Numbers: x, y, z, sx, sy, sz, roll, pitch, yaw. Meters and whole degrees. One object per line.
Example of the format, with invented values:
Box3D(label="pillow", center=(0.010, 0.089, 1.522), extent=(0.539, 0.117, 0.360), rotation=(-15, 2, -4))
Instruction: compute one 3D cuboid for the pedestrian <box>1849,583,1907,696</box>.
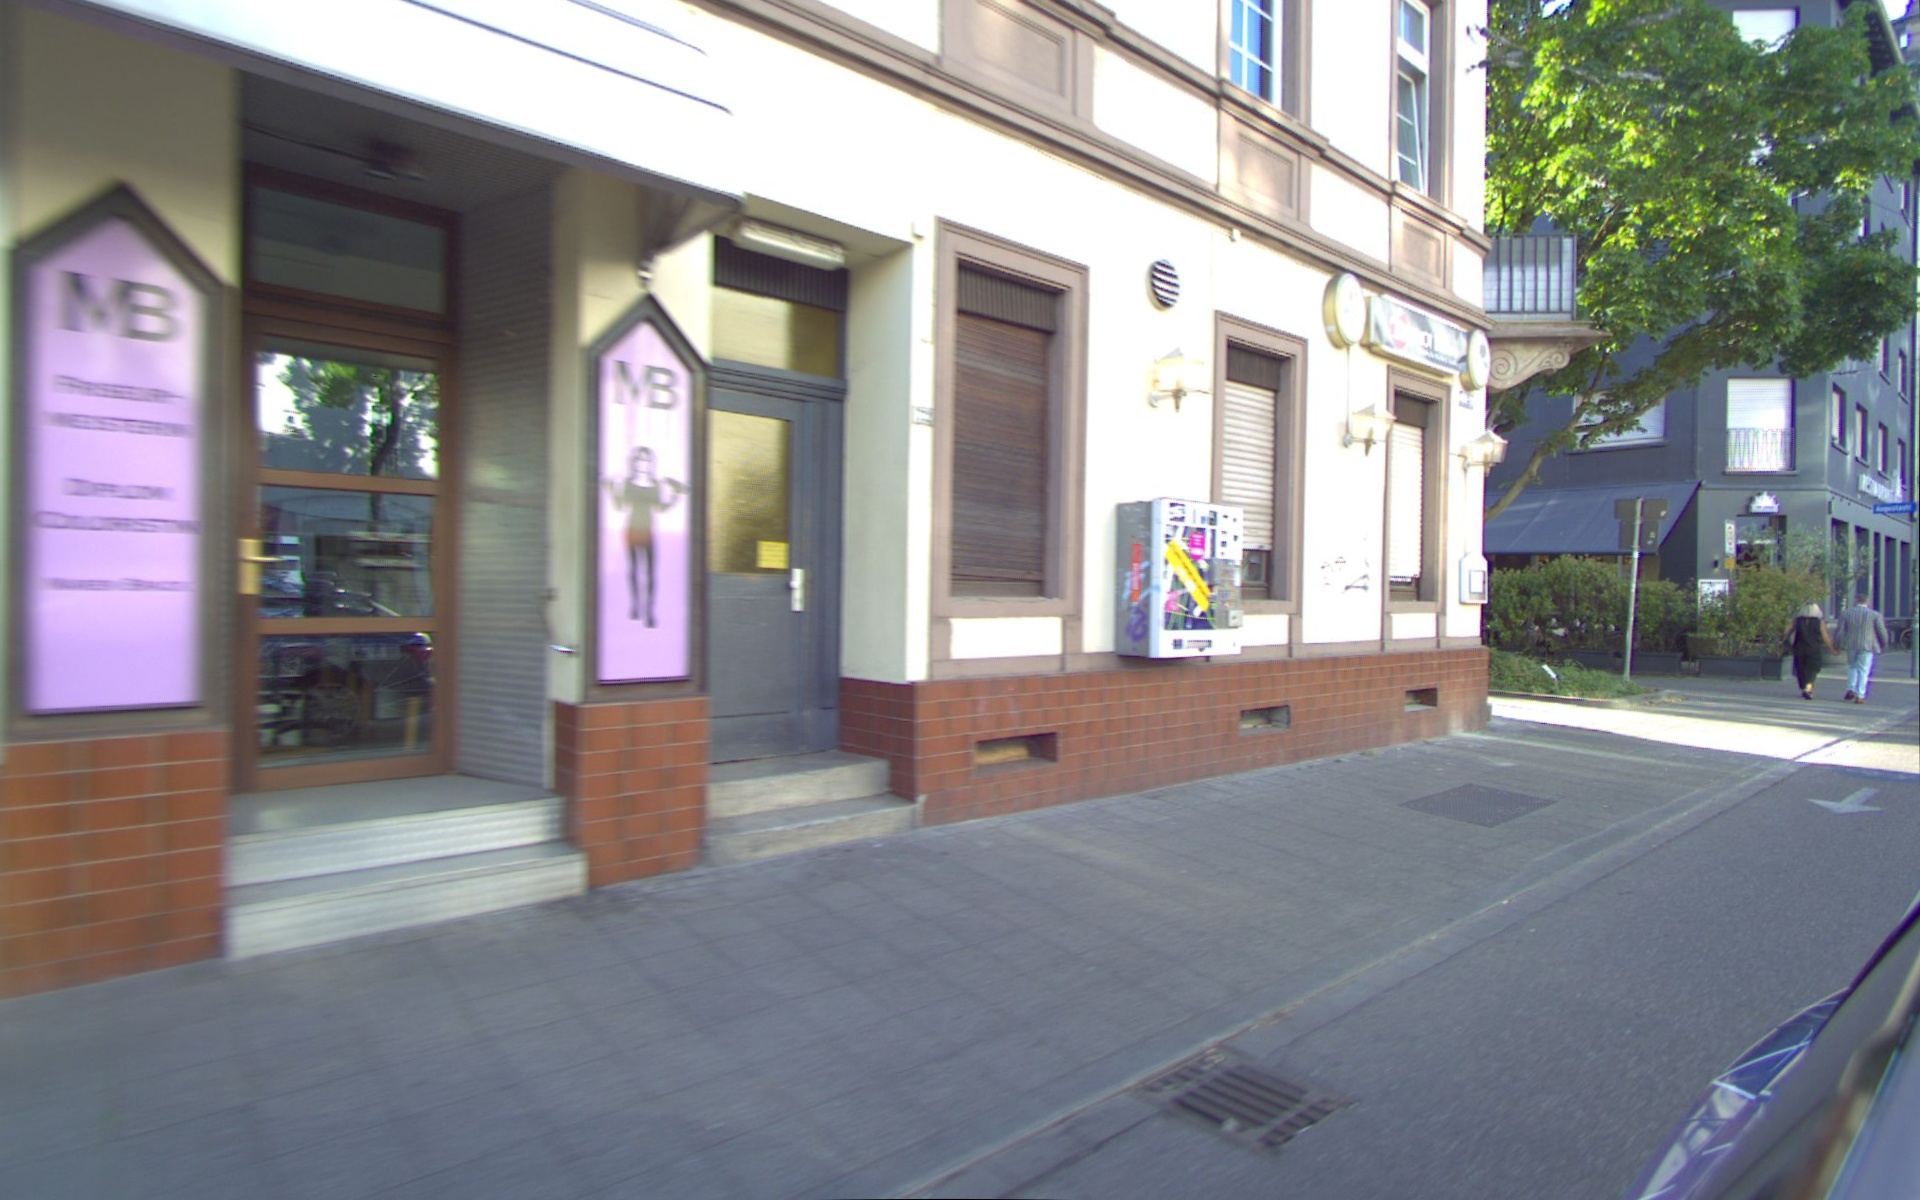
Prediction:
Box3D(label="pedestrian", center=(14.498, 0.599, 15.983), extent=(0.649, 1.738, 0.793), rotation=(1, 0, 43))

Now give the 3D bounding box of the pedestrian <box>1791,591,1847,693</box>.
Box3D(label="pedestrian", center=(13.902, 0.654, 16.379), extent=(0.649, 1.598, 0.672), rotation=(1, 0, 43))
